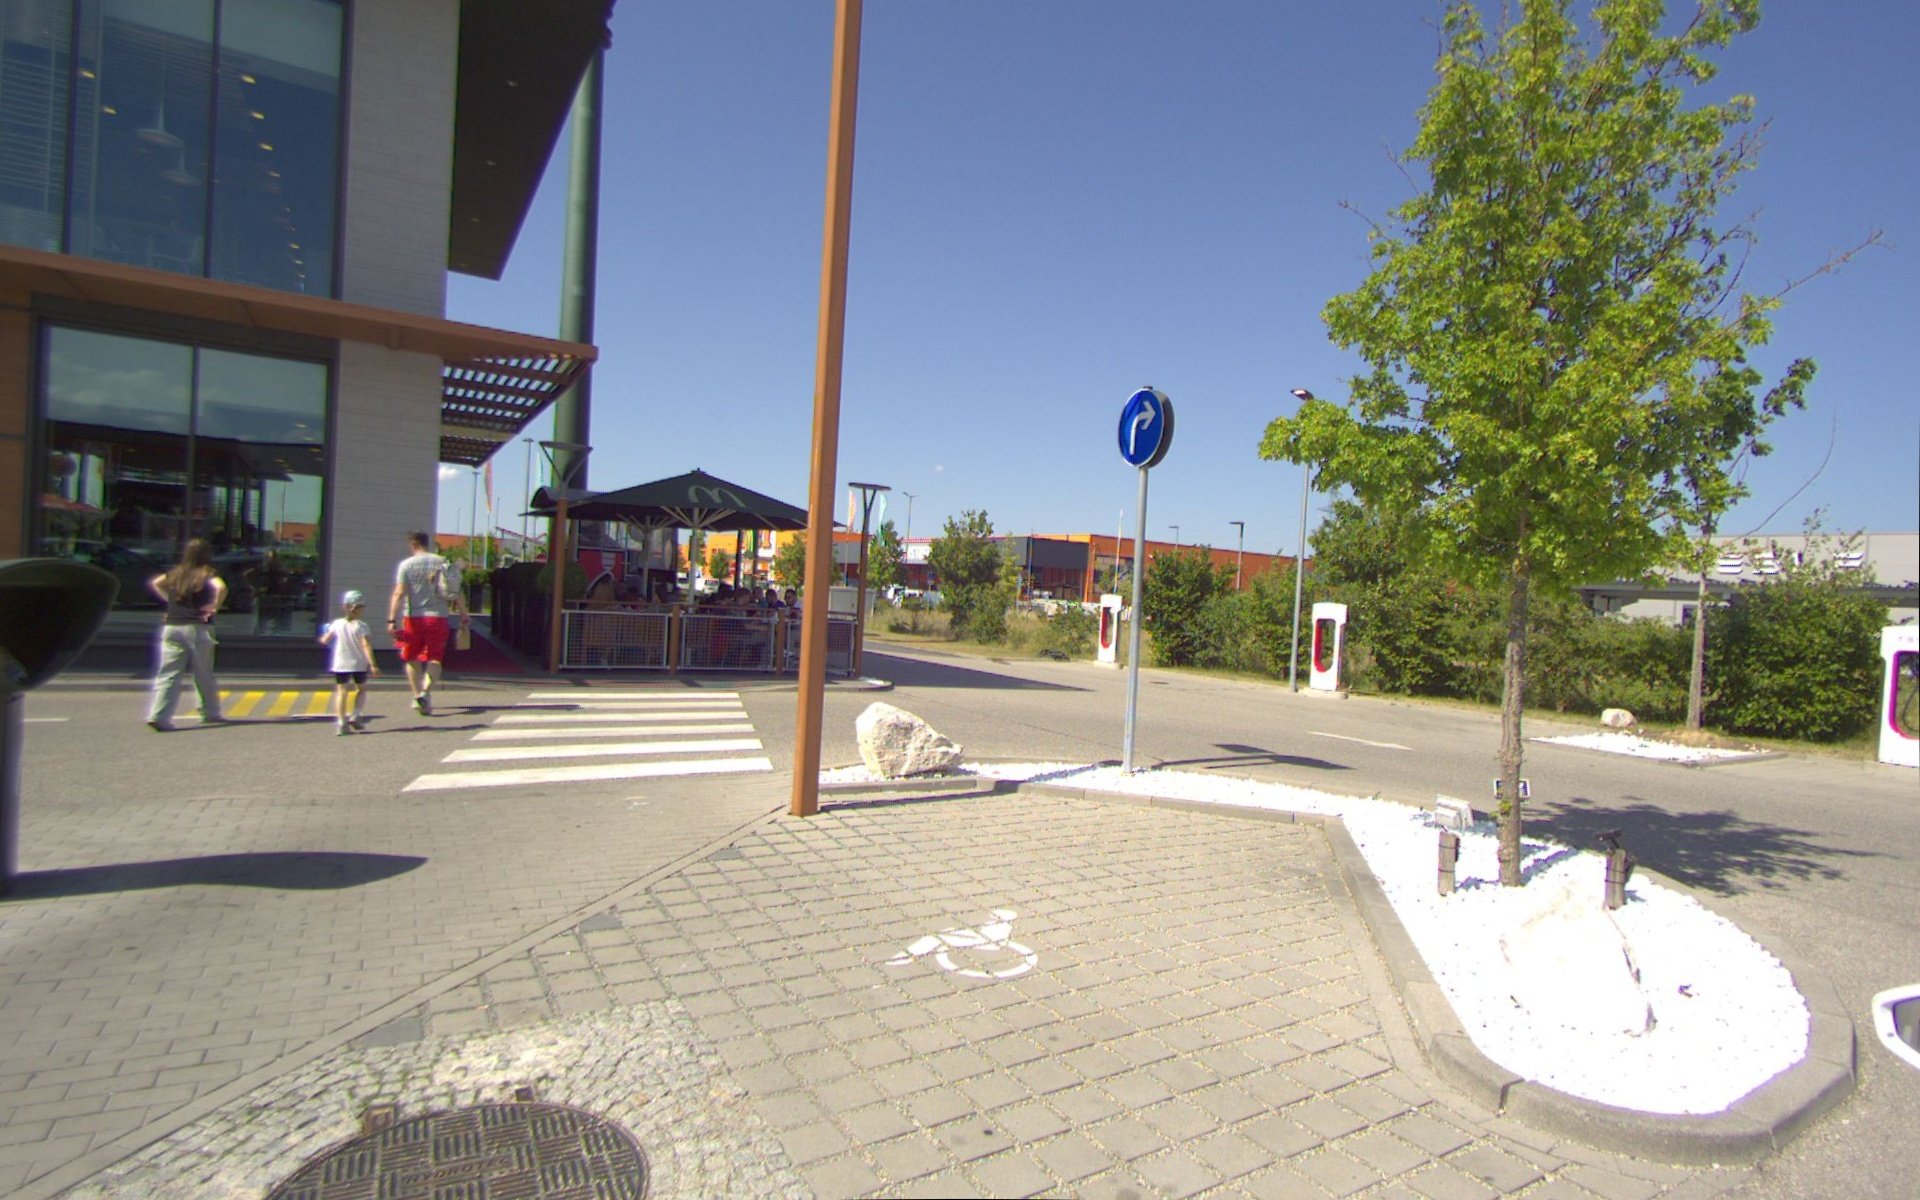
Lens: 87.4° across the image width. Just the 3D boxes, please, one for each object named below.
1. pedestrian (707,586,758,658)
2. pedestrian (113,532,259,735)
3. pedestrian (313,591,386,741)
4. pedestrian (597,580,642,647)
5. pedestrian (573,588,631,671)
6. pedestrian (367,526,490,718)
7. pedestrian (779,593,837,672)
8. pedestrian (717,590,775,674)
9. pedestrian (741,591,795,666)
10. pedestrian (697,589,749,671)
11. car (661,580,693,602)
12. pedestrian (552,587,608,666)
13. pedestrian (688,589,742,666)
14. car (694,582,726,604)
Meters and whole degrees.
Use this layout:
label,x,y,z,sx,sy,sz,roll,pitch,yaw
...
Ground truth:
label,x,y,z,sx,sy,sz,roll,pitch,yaw
pedestrian,-4.208,0.404,18.560,0.722,1.274,0.567,2,0,-36
pedestrian,-6.465,0.278,8.431,0.730,1.605,0.725,2,0,-21
pedestrian,-5.140,0.543,8.455,0.444,1.202,0.486,2,0,-37
pedestrian,-5.886,0.232,17.346,0.567,1.115,0.651,2,0,-32
pedestrian,-5.108,0.420,14.333,0.628,1.139,0.519,2,0,-35
pedestrian,-5.268,0.214,9.957,0.889,1.791,0.794,2,0,-39
pedestrian,-2.515,0.536,16.640,0.722,1.274,0.567,2,0,-36
pedestrian,-3.346,0.498,15.716,0.708,1.274,0.519,2,0,-35
pedestrian,-3.393,0.503,17.742,0.722,1.274,0.567,2,0,-36
pedestrian,-3.803,0.482,16.105,0.628,1.274,0.519,2,0,-35
car,-27.595,-0.880,97.988,1.977,2.040,3.967,4,-1,-30
pedestrian,-5.638,0.387,14.899,0.628,1.139,0.519,2,0,-35
pedestrian,-4.210,0.467,17.247,0.708,1.274,0.519,2,0,-35
car,-24.950,-0.696,100.063,1.977,2.040,3.967,4,-1,-30
